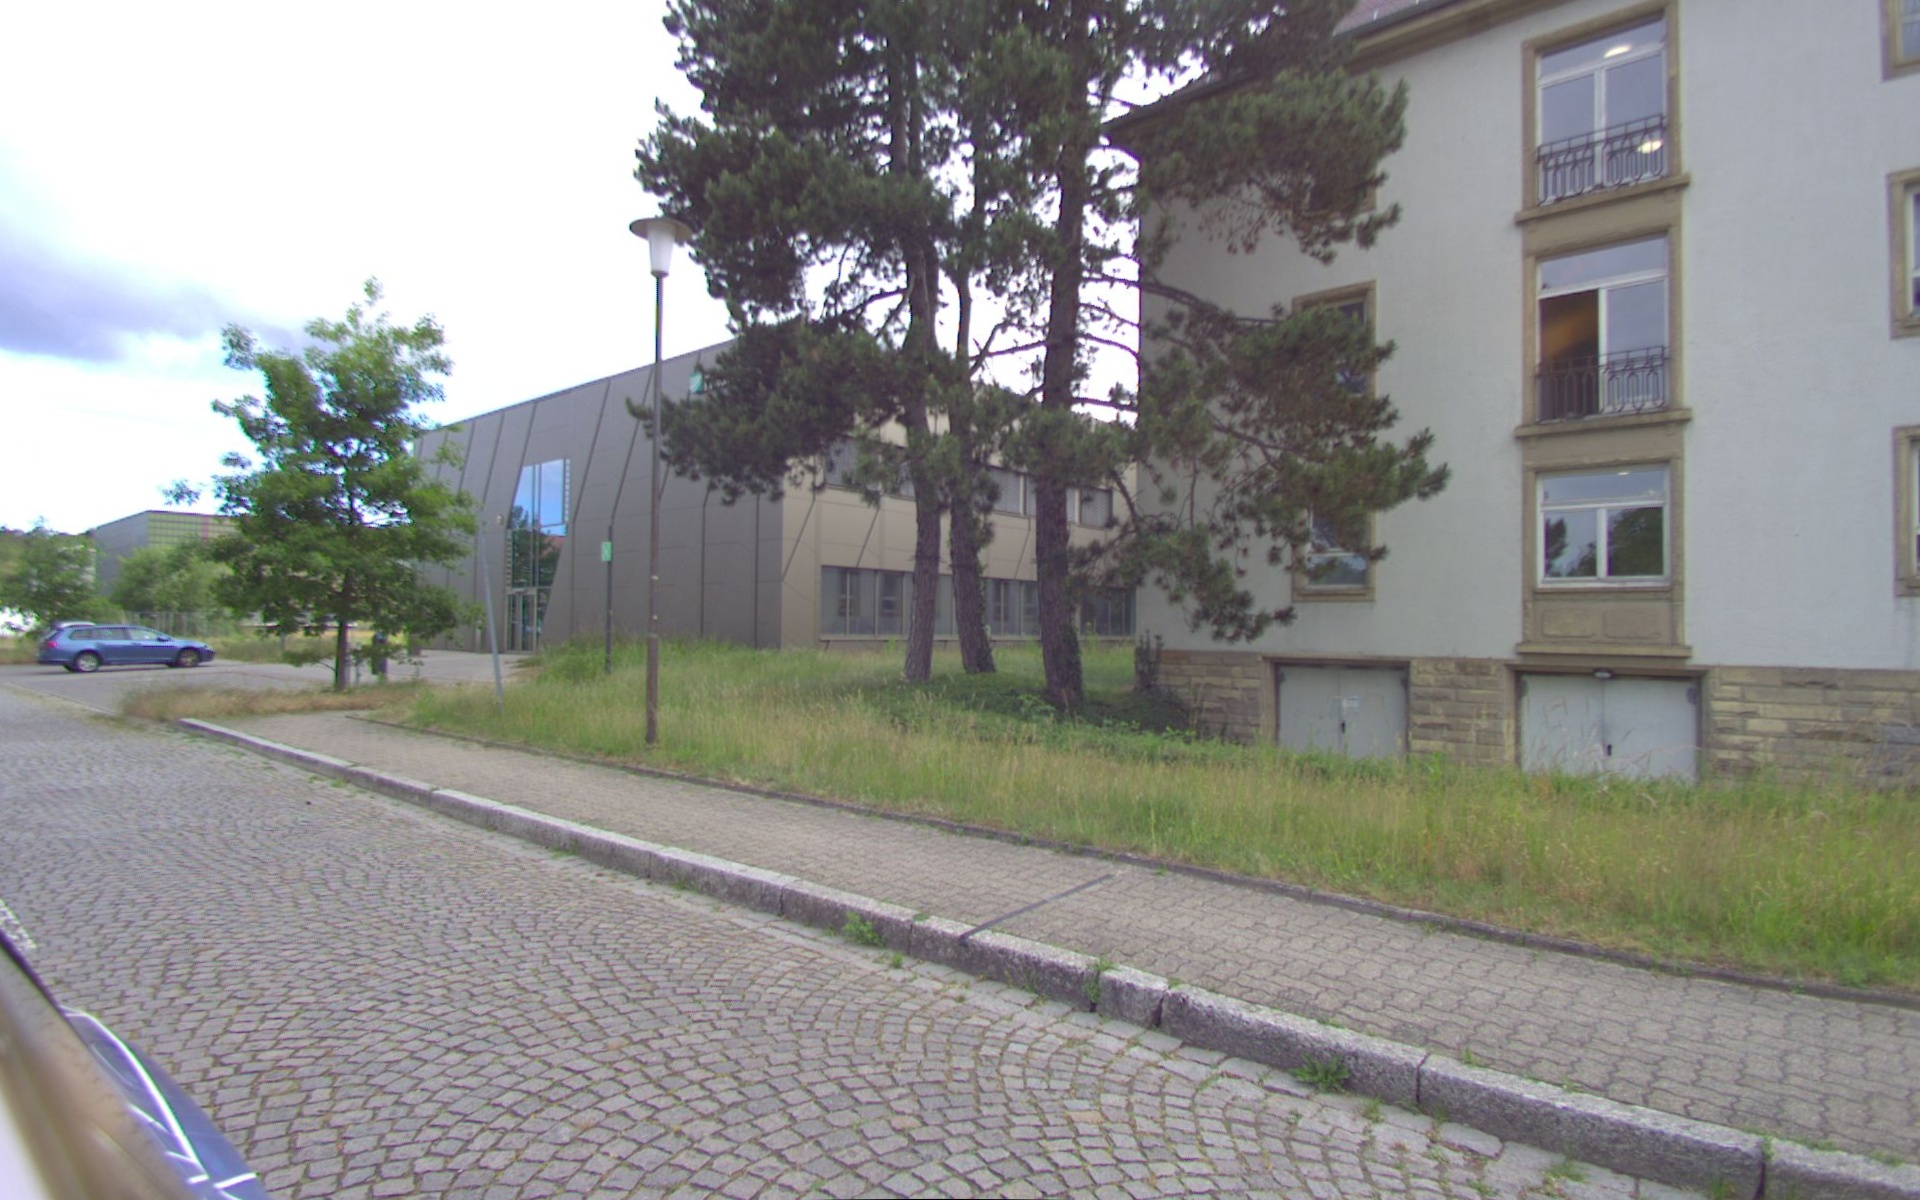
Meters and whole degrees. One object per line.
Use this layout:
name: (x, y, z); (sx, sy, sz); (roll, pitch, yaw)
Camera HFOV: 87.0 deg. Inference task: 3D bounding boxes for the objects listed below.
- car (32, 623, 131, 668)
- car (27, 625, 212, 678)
car: (-32.563, 1.671, 37.530); (1.499, 1.541, 2.552); (-1, 0, 39)
car: (-27.029, 1.592, 32.668); (1.631, 1.481, 4.372); (-1, 0, 38)
